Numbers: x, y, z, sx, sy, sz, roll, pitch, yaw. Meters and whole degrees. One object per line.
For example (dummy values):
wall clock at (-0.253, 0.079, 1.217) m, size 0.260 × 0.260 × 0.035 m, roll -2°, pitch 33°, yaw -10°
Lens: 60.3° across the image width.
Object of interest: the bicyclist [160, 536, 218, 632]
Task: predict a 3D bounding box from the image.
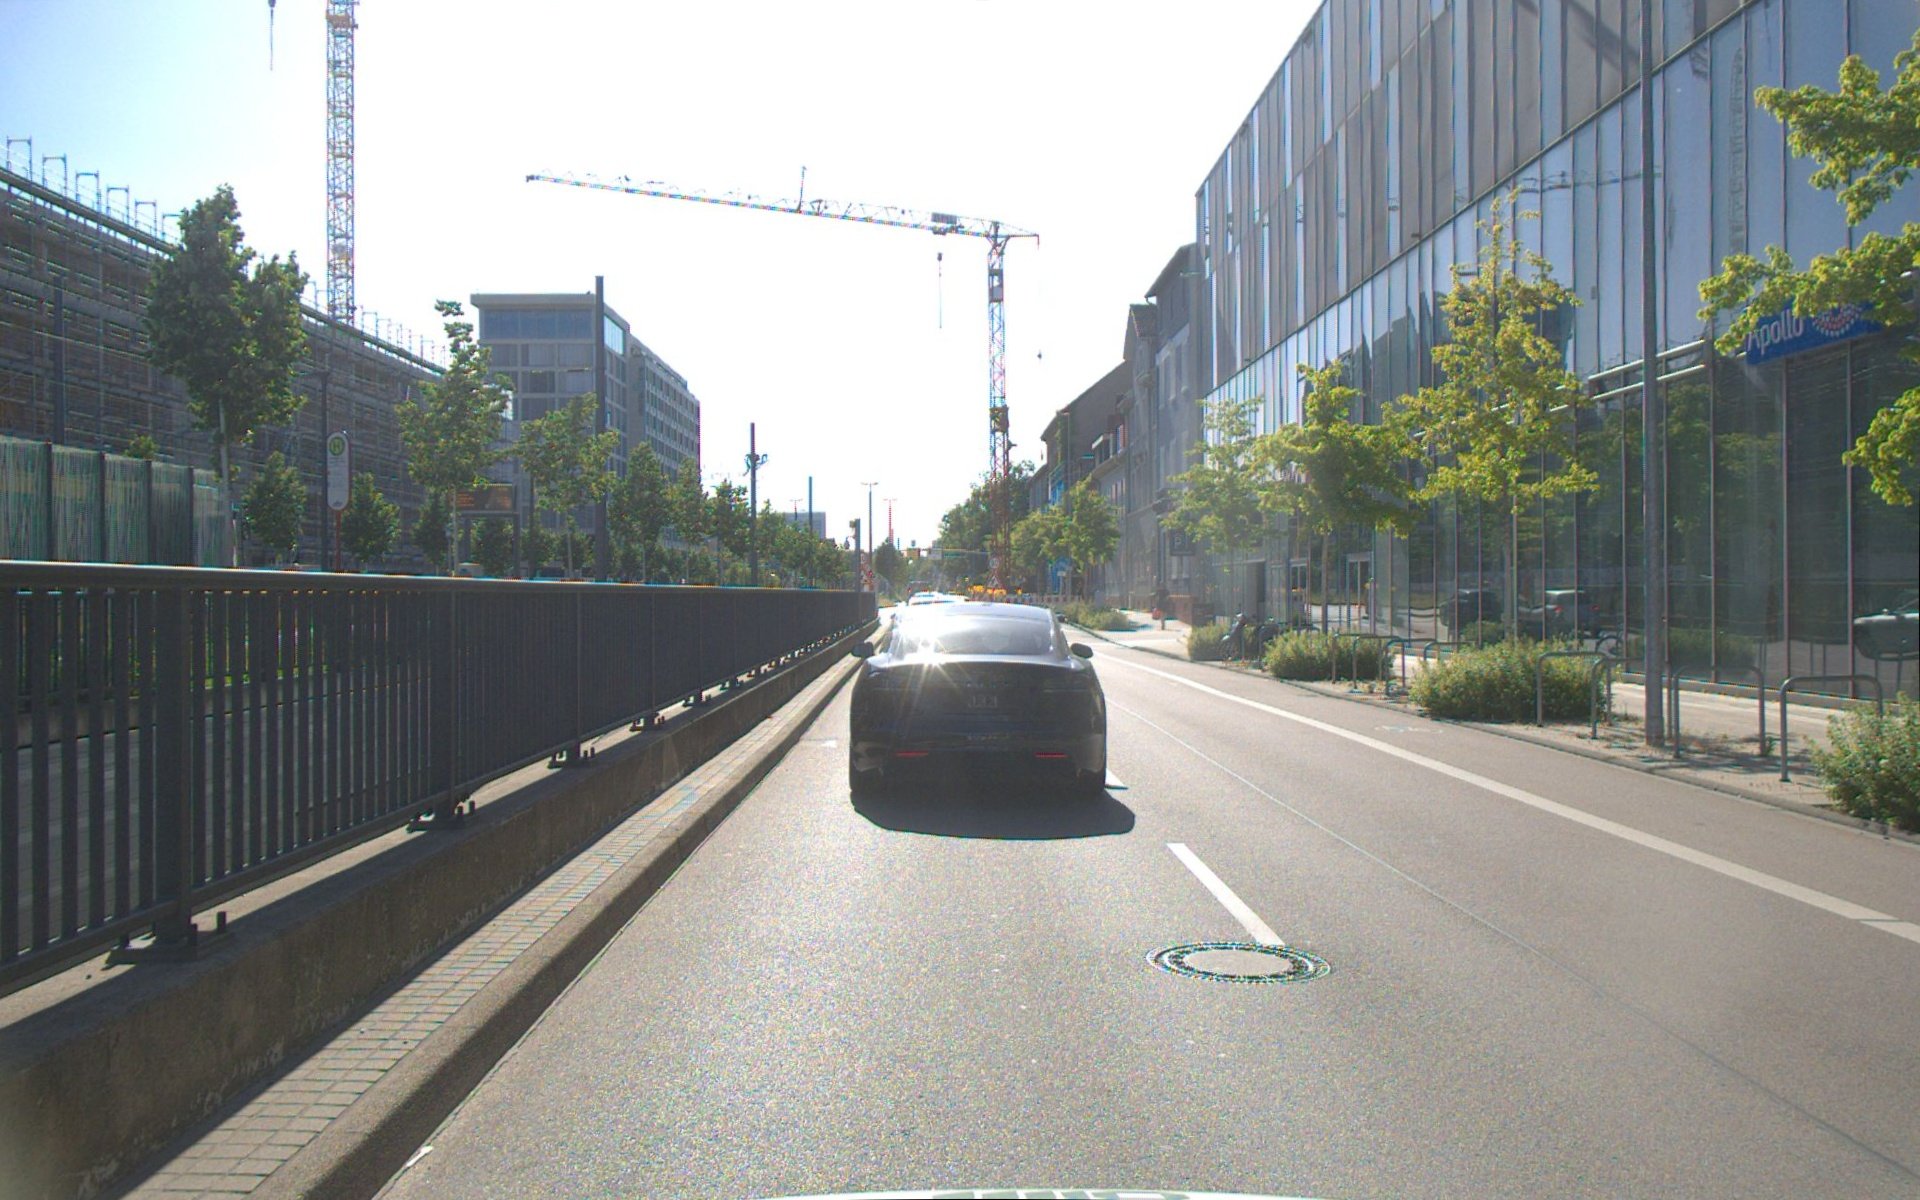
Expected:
bicyclist at (-12.369, -0.249, 26.556) m, size 0.526 × 1.517 × 0.853 m, roll 0°, pitch 0°, yaw -1°

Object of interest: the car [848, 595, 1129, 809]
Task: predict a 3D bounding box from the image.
car at (0.300, 0.703, 13.767) m, size 1.957 × 1.459 × 4.414 m, roll 0°, pitch 0°, yaw 3°

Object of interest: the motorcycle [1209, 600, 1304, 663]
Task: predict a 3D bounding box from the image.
motorcycle at (6.944, 0.736, 38.768) m, size 2.030 × 1.377 × 0.652 m, roll -3°, pitch -1°, yaw 22°

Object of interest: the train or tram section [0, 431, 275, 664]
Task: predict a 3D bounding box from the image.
train or tram section at (-15.154, -0.772, 22.334) m, size 2.812 × 3.337 × 22.139 m, roll 1°, pitch 0°, yaw -1°

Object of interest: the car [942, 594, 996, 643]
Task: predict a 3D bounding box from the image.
car at (0.316, 0.597, 56.326) m, size 1.748 × 1.573 × 4.039 m, roll 0°, pitch 1°, yaw 0°

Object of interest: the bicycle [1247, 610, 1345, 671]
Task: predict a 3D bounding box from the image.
bicycle at (6.930, 0.825, 34.127) m, size 1.848 × 1.171 × 0.670 m, roll -2°, pitch 0°, yaw -11°

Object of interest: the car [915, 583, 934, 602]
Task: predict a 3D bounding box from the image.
car at (-3.454, -0.708, 162.736) m, size 1.776 × 1.841 × 4.039 m, roll 0°, pitch 1°, yaw 0°

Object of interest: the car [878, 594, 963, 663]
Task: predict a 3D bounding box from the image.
car at (-0.783, 0.553, 34.843) m, size 1.681 × 1.343 × 4.000 m, roll 0°, pitch 1°, yaw 0°

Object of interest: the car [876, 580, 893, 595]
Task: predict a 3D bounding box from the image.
car at (-9.044, -1.486, 198.907) m, size 1.953 × 1.713 × 3.998 m, roll 1°, pitch 0°, yaw -2°

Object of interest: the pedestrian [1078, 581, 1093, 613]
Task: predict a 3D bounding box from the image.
pedestrian at (7.646, -0.190, 100.937) m, size 0.834 × 1.896 × 0.929 m, roll -1°, pitch 0°, yaw -2°

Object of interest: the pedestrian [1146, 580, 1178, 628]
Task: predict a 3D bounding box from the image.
pedestrian at (8.222, 0.152, 67.410) m, size 1.073 × 1.896 × 1.522 m, roll -1°, pitch 0°, yaw -2°
